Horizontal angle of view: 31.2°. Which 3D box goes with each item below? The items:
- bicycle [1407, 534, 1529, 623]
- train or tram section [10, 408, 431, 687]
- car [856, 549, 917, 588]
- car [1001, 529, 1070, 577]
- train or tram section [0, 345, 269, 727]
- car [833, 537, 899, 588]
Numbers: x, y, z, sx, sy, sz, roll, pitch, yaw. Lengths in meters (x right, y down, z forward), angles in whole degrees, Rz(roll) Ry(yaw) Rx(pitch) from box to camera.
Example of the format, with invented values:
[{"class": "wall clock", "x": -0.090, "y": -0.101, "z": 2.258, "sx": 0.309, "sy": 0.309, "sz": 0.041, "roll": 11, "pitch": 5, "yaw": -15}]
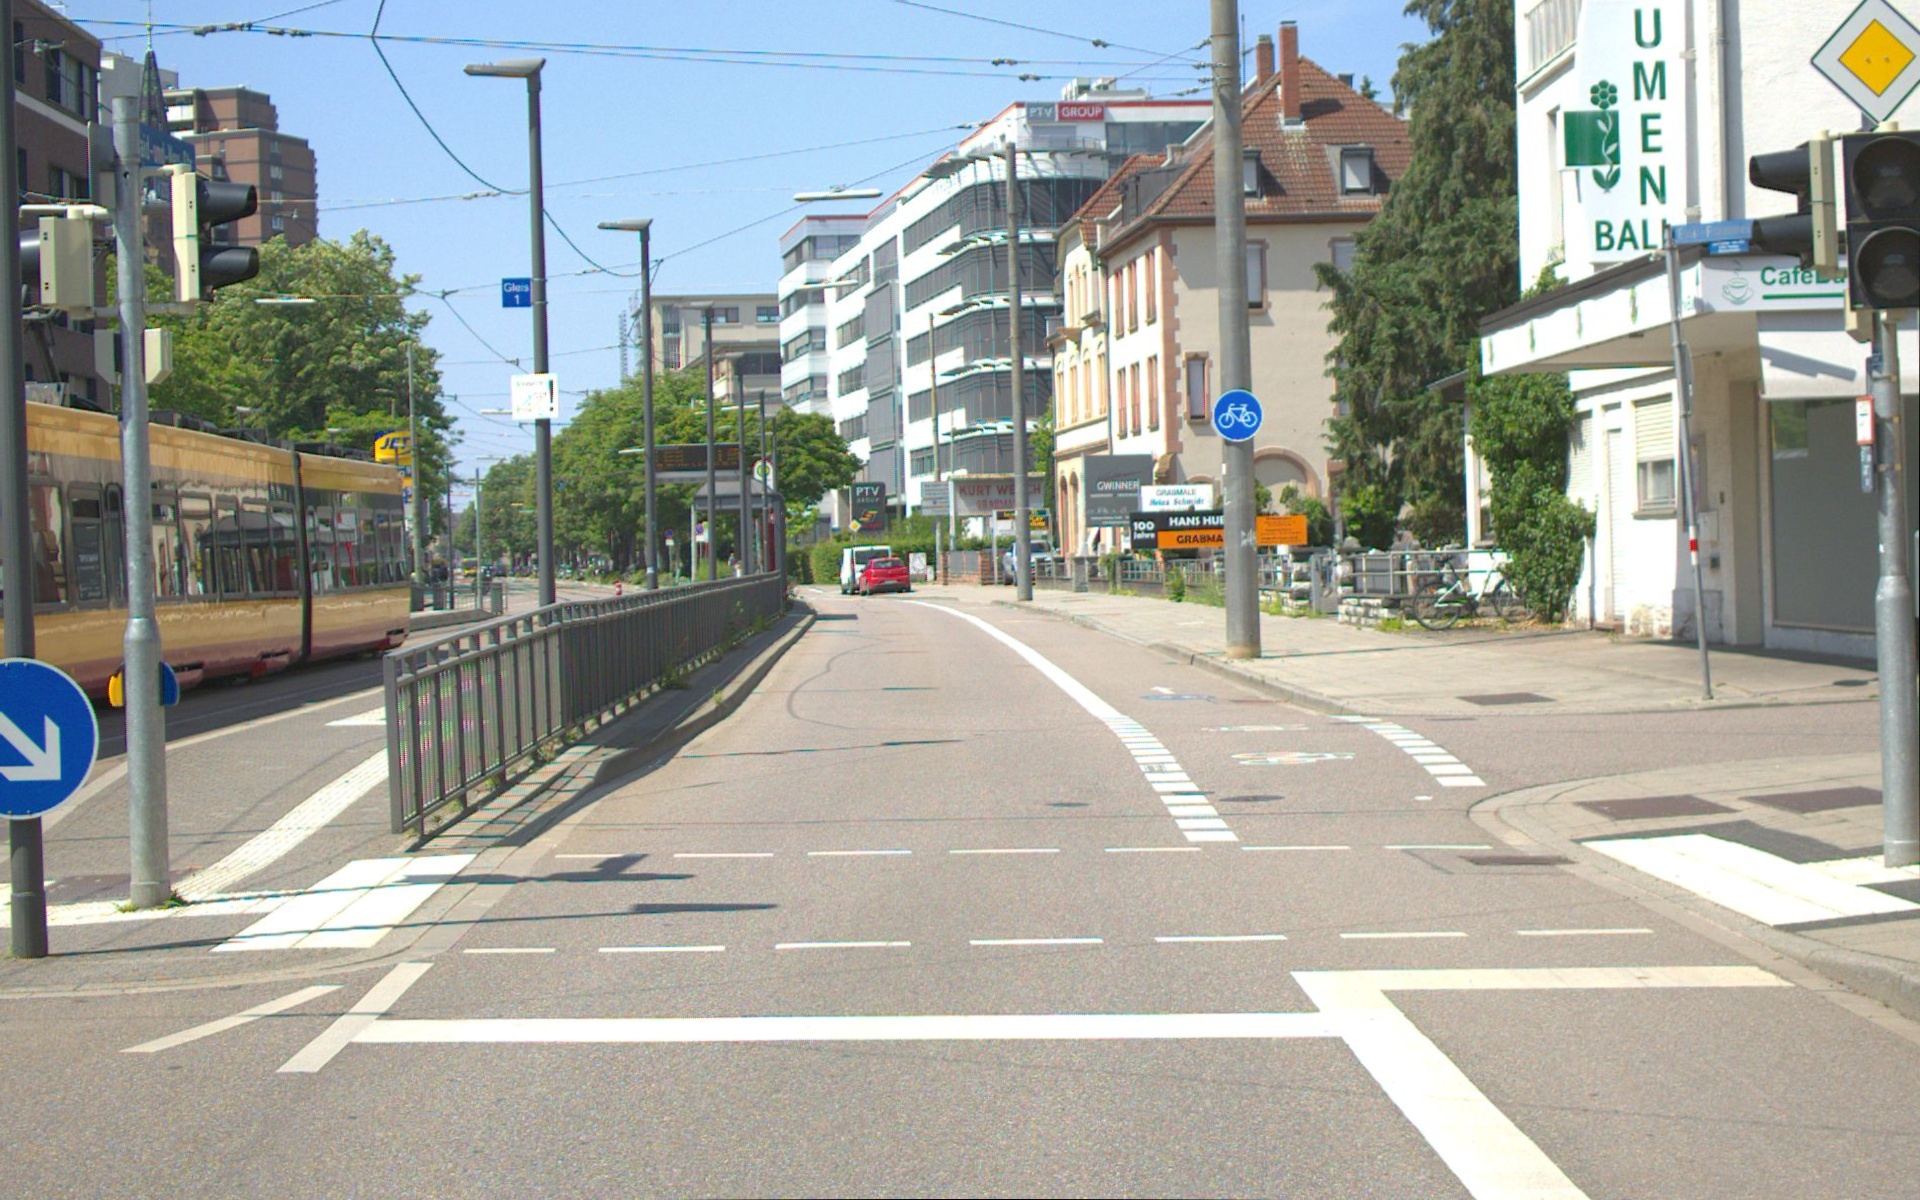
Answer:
[{"class": "bicycle", "x": 6.785, "y": -0.287, "z": 45.947, "sx": 1.533, "sy": 1.082, "sz": 0.429, "roll": -4, "pitch": 1, "yaw": 5}, {"class": "train or tram section", "x": -10.980, "y": -0.764, "z": 53.385, "sx": 3.235, "sy": 3.555, "sz": 16.350, "roll": -2, "pitch": 1, "yaw": -1}, {"class": "car", "x": -2.933, "y": -1.249, "z": 136.382, "sx": 1.993, "sy": 1.437, "sz": 4.018, "roll": -2, "pitch": 1, "yaw": -7}, {"class": "car", "x": 2.764, "y": -1.717, "z": 126.598, "sx": 1.878, "sy": 1.619, "sz": 4.640, "roll": -4, "pitch": 1, "yaw": -6}, {"class": "train or tram section", "x": -10.597, "y": -0.579, "z": 35.092, "sx": 3.250, "sy": 3.555, "sz": 20.502, "roll": -2, "pitch": 1, "yaw": -1}, {"class": "car", "x": -3.941, "y": -1.569, "z": 143.018, "sx": 1.993, "sy": 1.985, "sz": 5.516, "roll": -4, "pitch": 1, "yaw": -9}]
